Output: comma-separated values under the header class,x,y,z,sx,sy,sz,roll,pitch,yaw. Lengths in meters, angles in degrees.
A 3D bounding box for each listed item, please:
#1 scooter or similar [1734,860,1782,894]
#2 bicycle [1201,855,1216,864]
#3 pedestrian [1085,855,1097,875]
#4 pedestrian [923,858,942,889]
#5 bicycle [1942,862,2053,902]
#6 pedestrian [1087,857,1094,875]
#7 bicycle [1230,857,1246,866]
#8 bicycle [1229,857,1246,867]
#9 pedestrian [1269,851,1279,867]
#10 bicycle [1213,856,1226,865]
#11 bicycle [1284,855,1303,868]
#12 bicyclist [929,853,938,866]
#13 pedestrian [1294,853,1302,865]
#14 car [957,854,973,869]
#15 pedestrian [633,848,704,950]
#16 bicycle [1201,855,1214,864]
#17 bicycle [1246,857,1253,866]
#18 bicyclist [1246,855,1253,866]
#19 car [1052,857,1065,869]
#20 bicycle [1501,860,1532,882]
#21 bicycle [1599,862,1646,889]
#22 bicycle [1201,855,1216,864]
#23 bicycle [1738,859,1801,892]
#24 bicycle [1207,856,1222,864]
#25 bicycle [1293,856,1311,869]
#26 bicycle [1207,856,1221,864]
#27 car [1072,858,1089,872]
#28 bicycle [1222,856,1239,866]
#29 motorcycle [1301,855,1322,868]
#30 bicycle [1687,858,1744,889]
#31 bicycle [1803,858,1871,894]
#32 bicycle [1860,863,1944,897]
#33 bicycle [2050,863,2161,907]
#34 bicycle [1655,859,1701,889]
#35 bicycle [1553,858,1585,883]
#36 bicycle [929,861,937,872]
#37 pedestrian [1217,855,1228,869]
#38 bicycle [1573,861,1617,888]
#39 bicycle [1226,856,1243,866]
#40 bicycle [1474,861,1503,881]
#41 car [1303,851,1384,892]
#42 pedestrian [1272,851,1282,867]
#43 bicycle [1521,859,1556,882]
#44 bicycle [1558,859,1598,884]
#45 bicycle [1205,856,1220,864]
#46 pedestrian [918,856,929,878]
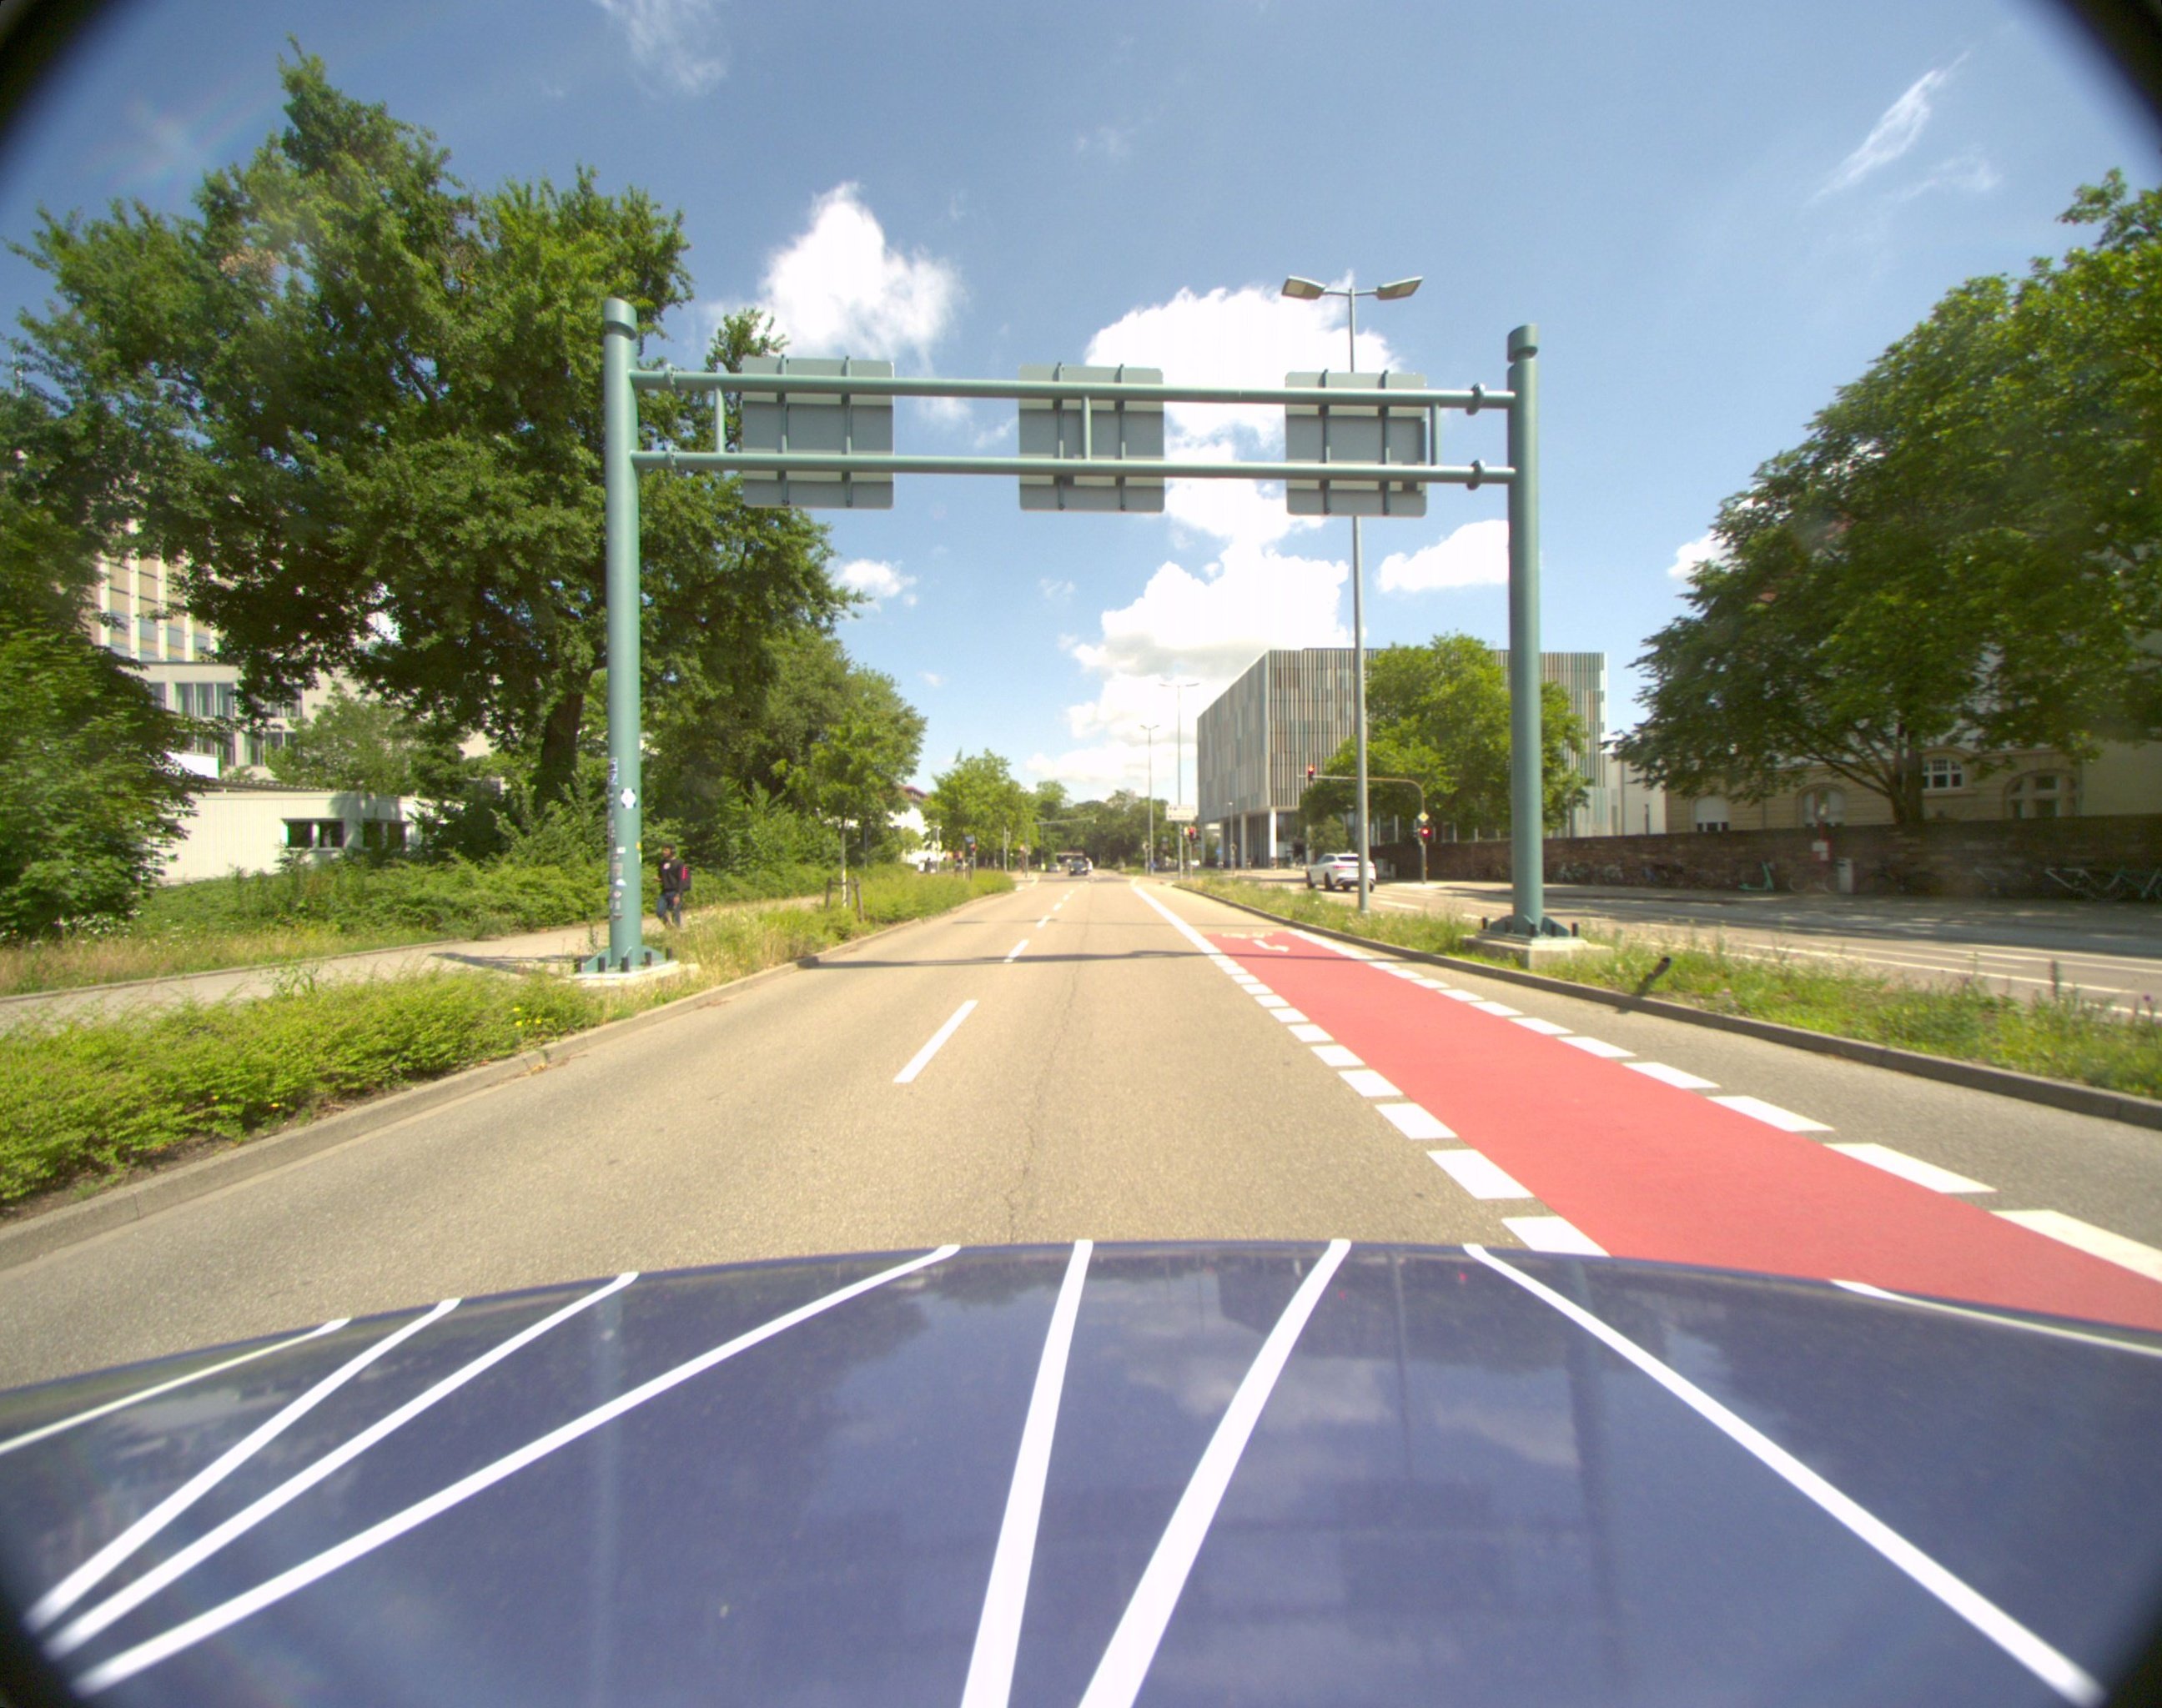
class,x,y,z,sx,sy,sz,roll,pitch,yaw
scooter or similar,23.872,0.799,26.797,0.433,1.145,1.191,-1,0,-20
bicycle,22.985,1.011,136.969,2.511,1.486,0.621,-1,0,1
pedestrian,1.016,1.099,75.266,1.108,1.914,0.972,-1,0,6
pedestrian,-8.413,1.075,42.987,0.815,1.711,0.929,-1,1,2
bicycle,25.577,0.758,21.250,0.545,1.041,1.948,-1,0,-11
pedestrian,0.971,1.179,76.295,0.646,1.815,0.689,-1,0,1
bicycle,24.260,1.159,117.481,2.509,1.486,0.730,-1,0,10
bicycle,23.972,1.172,116.476,2.451,1.486,0.621,-1,0,1
pedestrian,22.474,0.588,88.517,0.969,1.914,0.880,-1,1,30
bicycle,23.612,1.065,129.596,2.071,1.486,0.621,-1,0,1
bicycle,26.586,0.951,94.864,0.808,1.634,3.422,-1,0,42
bicyclist,-17.232,0.618,88.668,0.972,1.436,1.076,-1,0,-10
pedestrian,30.249,0.695,105.932,1.012,1.697,1.212,-1,0,19
car,-15.669,0.987,102.548,2.000,2.042,4.226,-1,0,-8
pedestrian,-7.188,0.757,13.274,0.718,1.711,0.837,-1,1,2
bicycle,23.193,0.992,138.955,2.302,1.486,0.657,-1,0,1
bicycle,19.340,0.886,87.199,0.646,0.992,2.166,-1,0,16
bicyclist,19.365,0.724,87.334,0.617,1.219,0.835,-1,0,19
car,-3.490,1.415,117.538,1.913,1.772,3.999,-1,0,-3
bicycle,22.850,0.870,39.888,0.500,1.145,1.593,-1,0,-8
bicycle,23.340,0.912,32.772,0.403,1.145,1.590,-1,0,-32
bicycle,23.095,1.003,137.669,2.511,1.486,0.621,-1,0,1
bicycle,24.387,0.739,26.938,0.534,1.145,1.591,-1,0,-21
bicycle,23.199,1.049,132.161,2.511,1.486,0.621,-1,0,1
bicycle,27.352,1.031,94.130,2.693,1.485,0.930,-1,0,-44
bicycle,23.511,1.026,134.342,2.330,1.486,0.621,-1,0,1
car,-0.069,1.232,86.118,1.846,1.593,3.999,-1,0,-2
bicycle,23.677,1.144,120.164,2.511,1.486,0.621,-1,0,1
motorcycle,28.316,0.921,93.176,0.969,1.630,3.305,-1,0,45
bicycle,23.910,0.730,28.679,0.534,1.145,1.591,-1,0,-21
bicycle,24.914,0.716,25.074,0.433,1.136,1.593,-1,0,-12
bicycle,25.211,0.773,23.370,0.482,1.002,1.800,-1,0,-8
bicycle,25.911,0.748,19.094,0.545,1.041,1.894,-1,0,-11
bicycle,23.873,0.790,30.414,0.403,1.145,1.593,-1,0,-11
bicycle,23.366,0.784,36.419,0.413,1.145,1.593,-1,0,-5
bicycle,-17.248,1.495,88.833,0.885,1.244,2.163,-1,0,-11
pedestrian,16.552,0.889,88.867,0.972,1.619,0.878,-1,0,-10
bicycle,23.043,0.905,34.101,0.403,1.145,1.590,-1,0,-32
bicycle,24.421,1.127,121.061,2.511,1.486,0.621,-1,0,1
bicycle,22.543,0.929,42.083,0.573,1.092,1.593,-1,0,-8
car,11.494,0.744,33.624,2.076,1.657,4.776,-1,0,2
pedestrian,23.636,0.568,91.468,0.969,1.914,0.880,-1,1,27
bicycle,23.028,0.815,38.256,0.623,1.145,1.593,-1,0,-8
bicycle,23.019,0.803,35.206,0.403,1.145,1.591,-1,0,-22
bicycle,23.124,1.040,133.275,2.511,1.486,0.621,-1,0,1
pedestrian,-13.766,1.130,66.521,0.879,1.861,0.971,-1,0,-10
